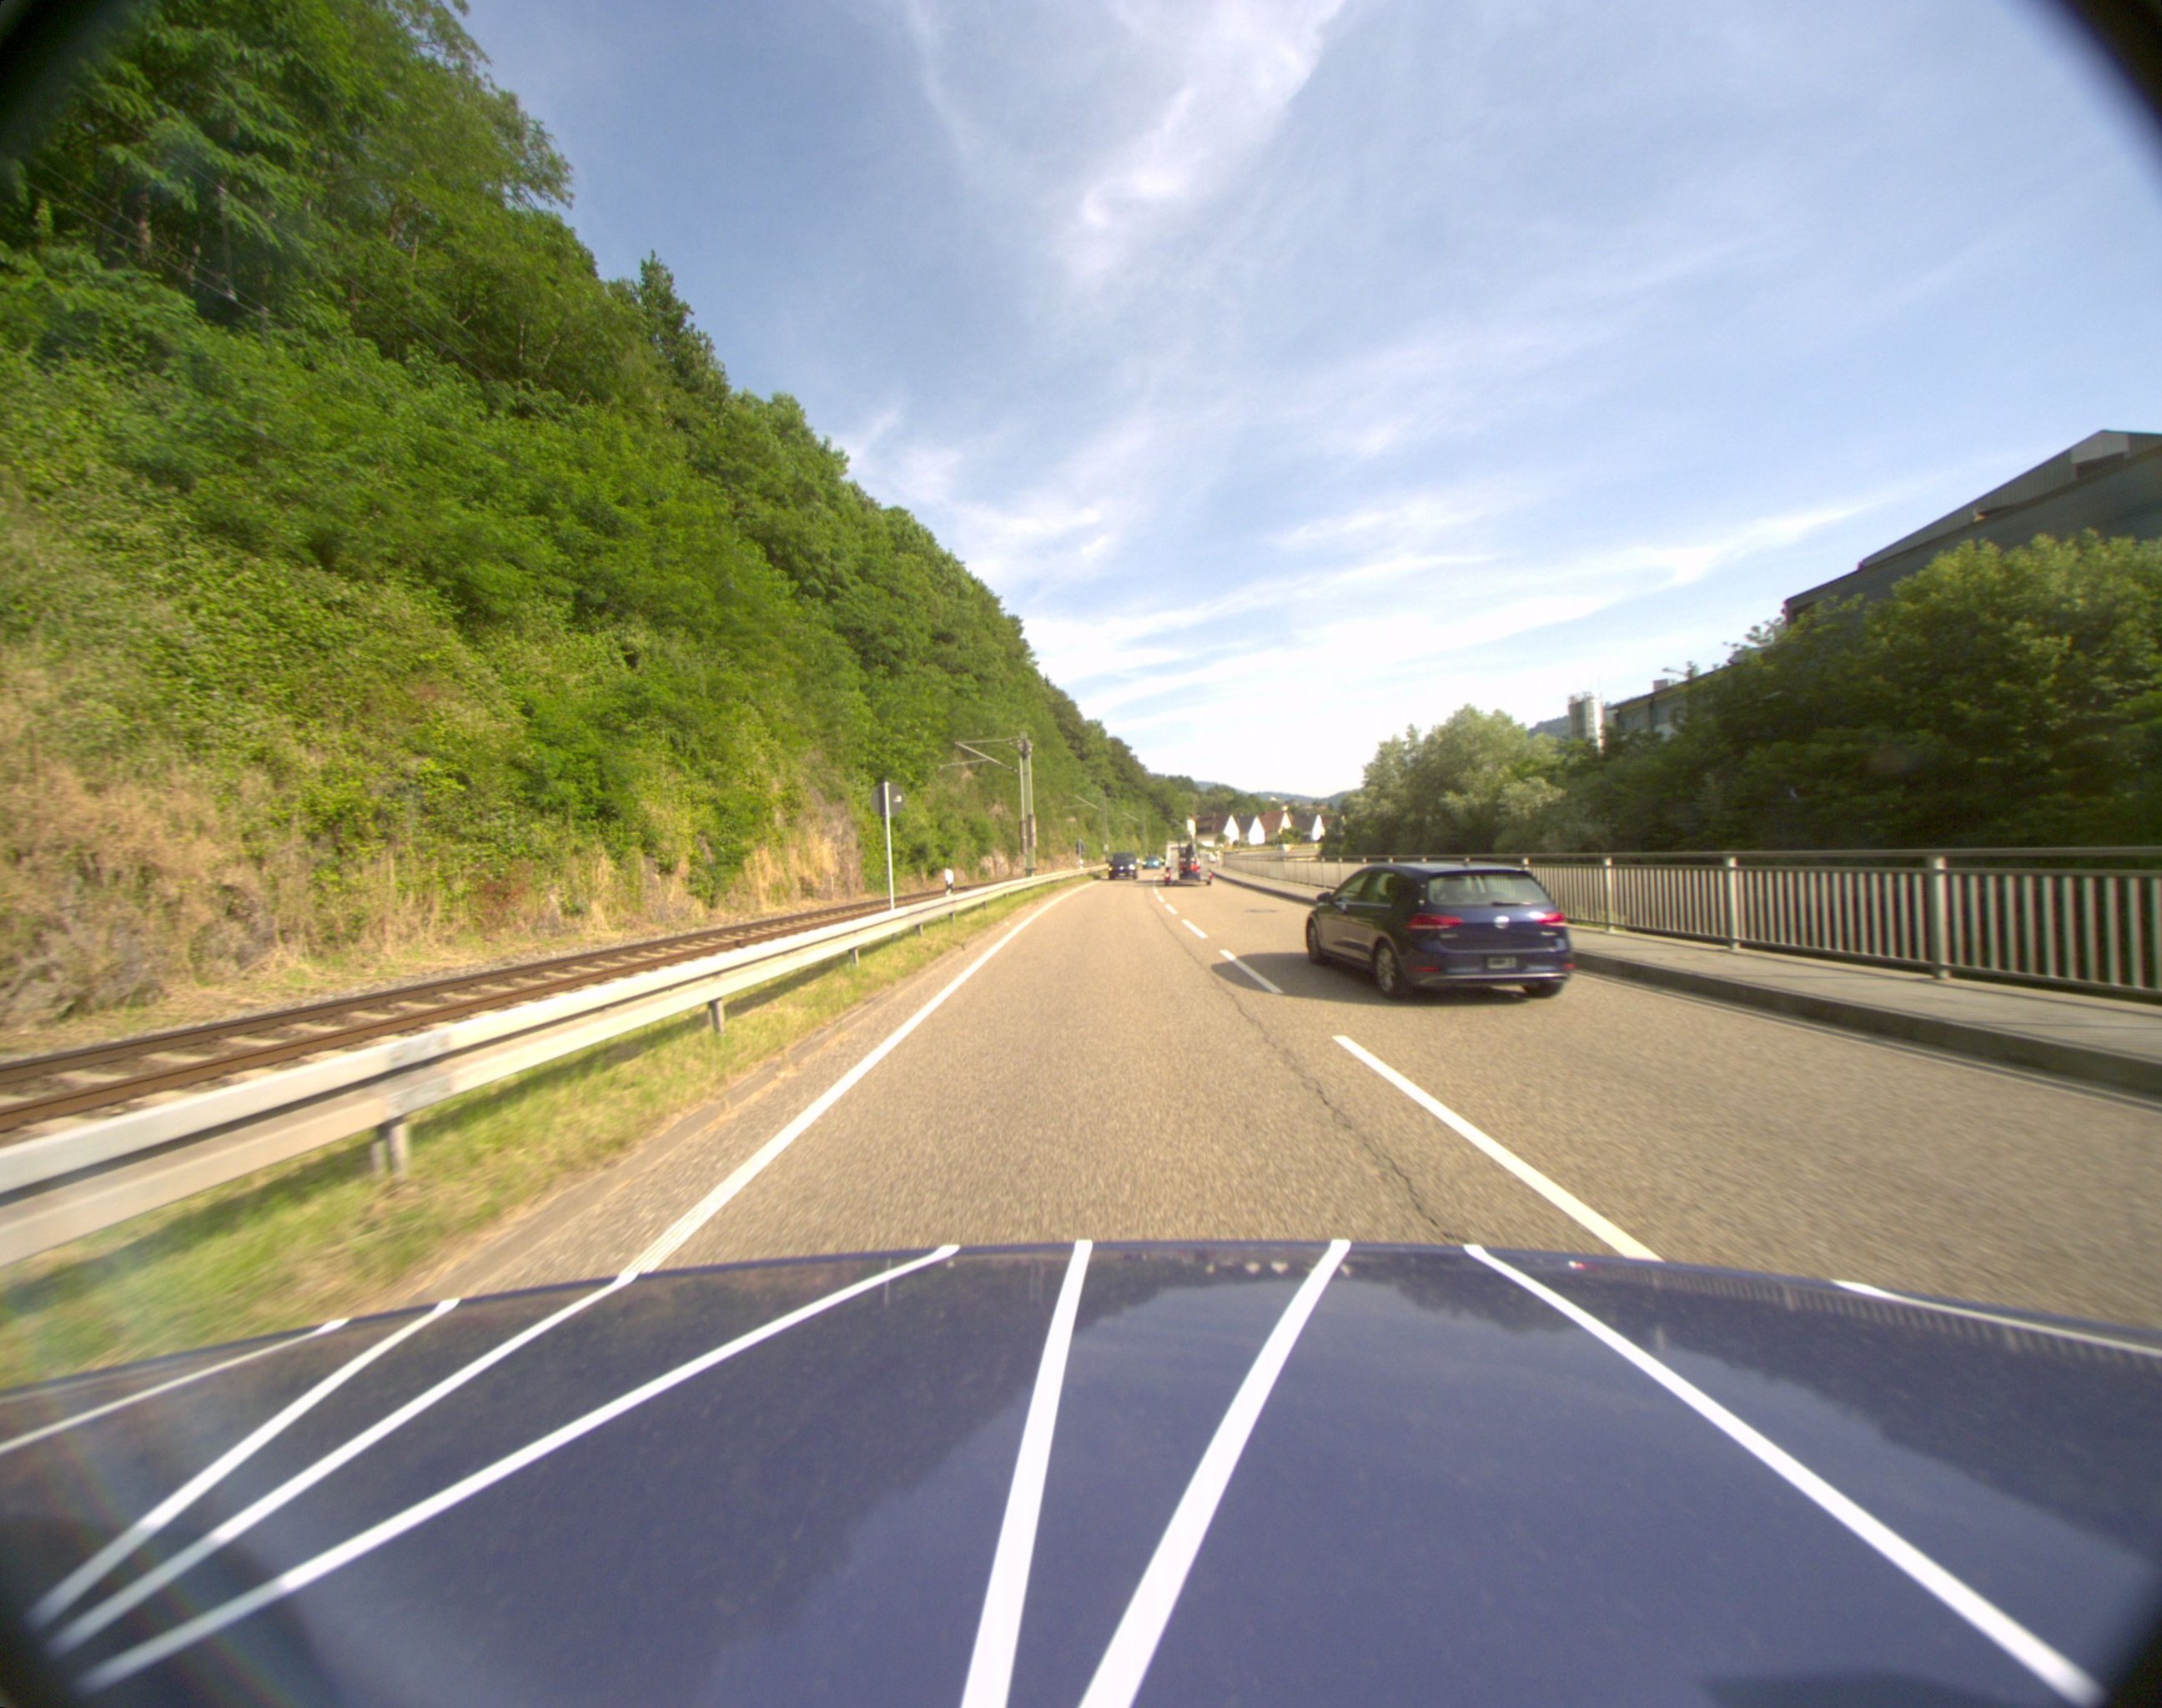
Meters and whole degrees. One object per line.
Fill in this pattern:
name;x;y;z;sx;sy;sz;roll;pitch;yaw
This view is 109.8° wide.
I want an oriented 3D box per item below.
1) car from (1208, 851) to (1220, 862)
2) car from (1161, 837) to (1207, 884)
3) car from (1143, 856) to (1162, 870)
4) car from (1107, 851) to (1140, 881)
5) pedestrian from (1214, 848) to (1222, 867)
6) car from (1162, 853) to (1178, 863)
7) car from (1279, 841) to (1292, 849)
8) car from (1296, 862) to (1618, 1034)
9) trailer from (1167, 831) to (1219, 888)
car;20.007;0.344;114.495;1.724;1.574;3.503;0;0;9
car;5.981;0.350;44.976;2.163;2.517;6.579;-1;0;3
car;7.933;0.979;83.943;1.748;1.424;3.334;0;0;11
car;2.991;0.835;52.870;1.908;1.867;4.350;-5;-1;7
pedestrian;13.337;0.316;73.847;0.719;1.808;0.877;-2;1;9
car;12.245;0.531;104.212;1.650;1.424;3.336;0;0;16
car;47.250;-2.027;175.256;1.995;1.849;4.007;-1;1;29
car;3.952;0.865;8.853;1.707;1.423;4.074;-2;0;0
trailer;5.650;0.257;39.004;2.126;2.700;5.348;-2;0;3
